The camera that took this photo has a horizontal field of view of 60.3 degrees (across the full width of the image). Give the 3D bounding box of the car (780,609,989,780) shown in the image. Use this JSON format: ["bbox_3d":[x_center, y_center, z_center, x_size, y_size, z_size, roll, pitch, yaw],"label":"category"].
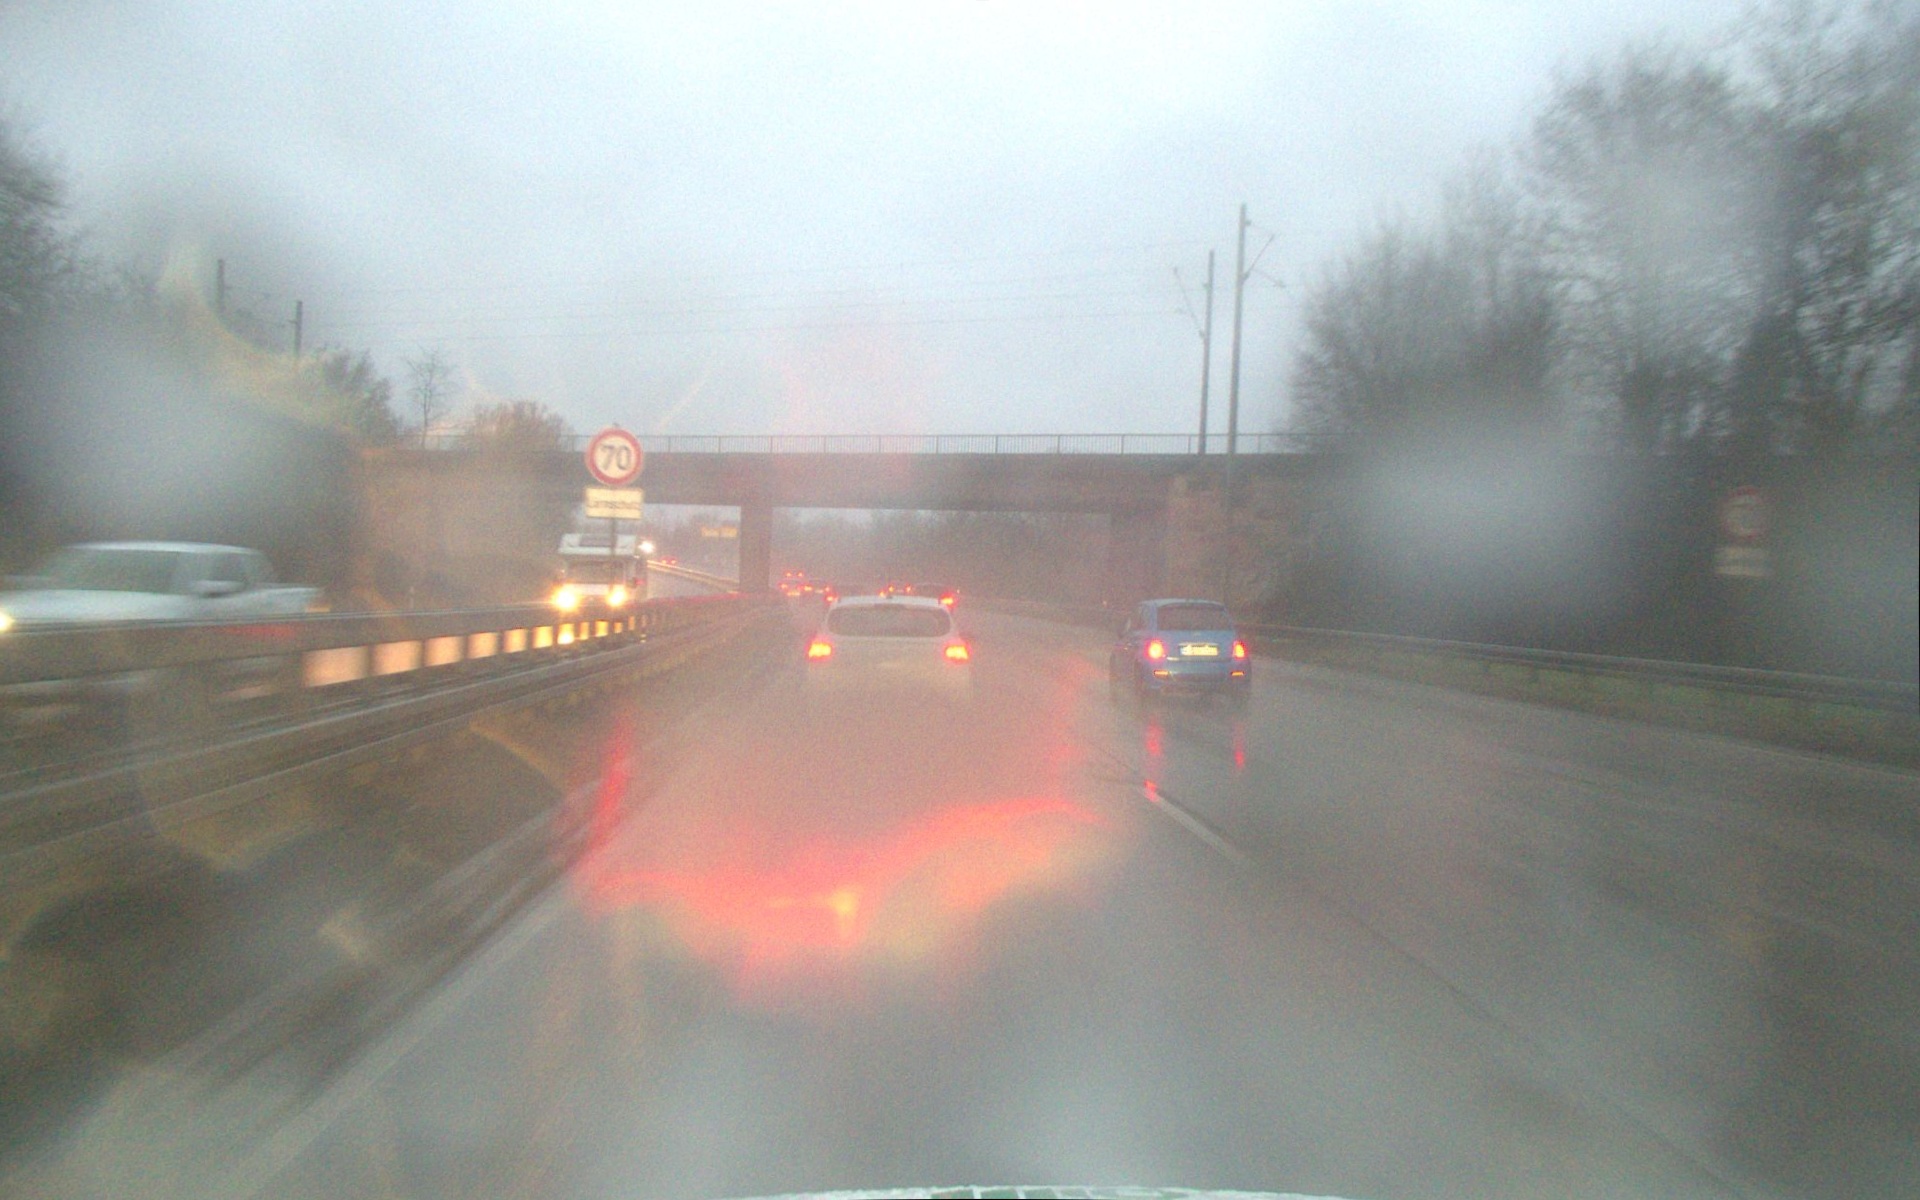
[{"bbox_3d":[-0.834,0.945,18.078,1.984,1.602,3.997,2,-1,-3],"label":"car"}]

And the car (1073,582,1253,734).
[{"bbox_3d":[2.955,0.835,24.877,1.895,2.055,3.769,2,-1,-5],"label":"car"}]

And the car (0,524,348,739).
[{"bbox_3d":[-8.278,0.302,17.235,1.947,1.862,5.117,2,-1,-2],"label":"car"}]

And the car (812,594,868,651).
[{"bbox_3d":[-4.634,0.854,63.289,1.955,2.049,3.995,2,-1,-6],"label":"car"}]

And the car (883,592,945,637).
[{"bbox_3d":[-1.890,0.606,66.764,1.898,1.573,3.764,-4,-2,-10],"label":"car"}]
